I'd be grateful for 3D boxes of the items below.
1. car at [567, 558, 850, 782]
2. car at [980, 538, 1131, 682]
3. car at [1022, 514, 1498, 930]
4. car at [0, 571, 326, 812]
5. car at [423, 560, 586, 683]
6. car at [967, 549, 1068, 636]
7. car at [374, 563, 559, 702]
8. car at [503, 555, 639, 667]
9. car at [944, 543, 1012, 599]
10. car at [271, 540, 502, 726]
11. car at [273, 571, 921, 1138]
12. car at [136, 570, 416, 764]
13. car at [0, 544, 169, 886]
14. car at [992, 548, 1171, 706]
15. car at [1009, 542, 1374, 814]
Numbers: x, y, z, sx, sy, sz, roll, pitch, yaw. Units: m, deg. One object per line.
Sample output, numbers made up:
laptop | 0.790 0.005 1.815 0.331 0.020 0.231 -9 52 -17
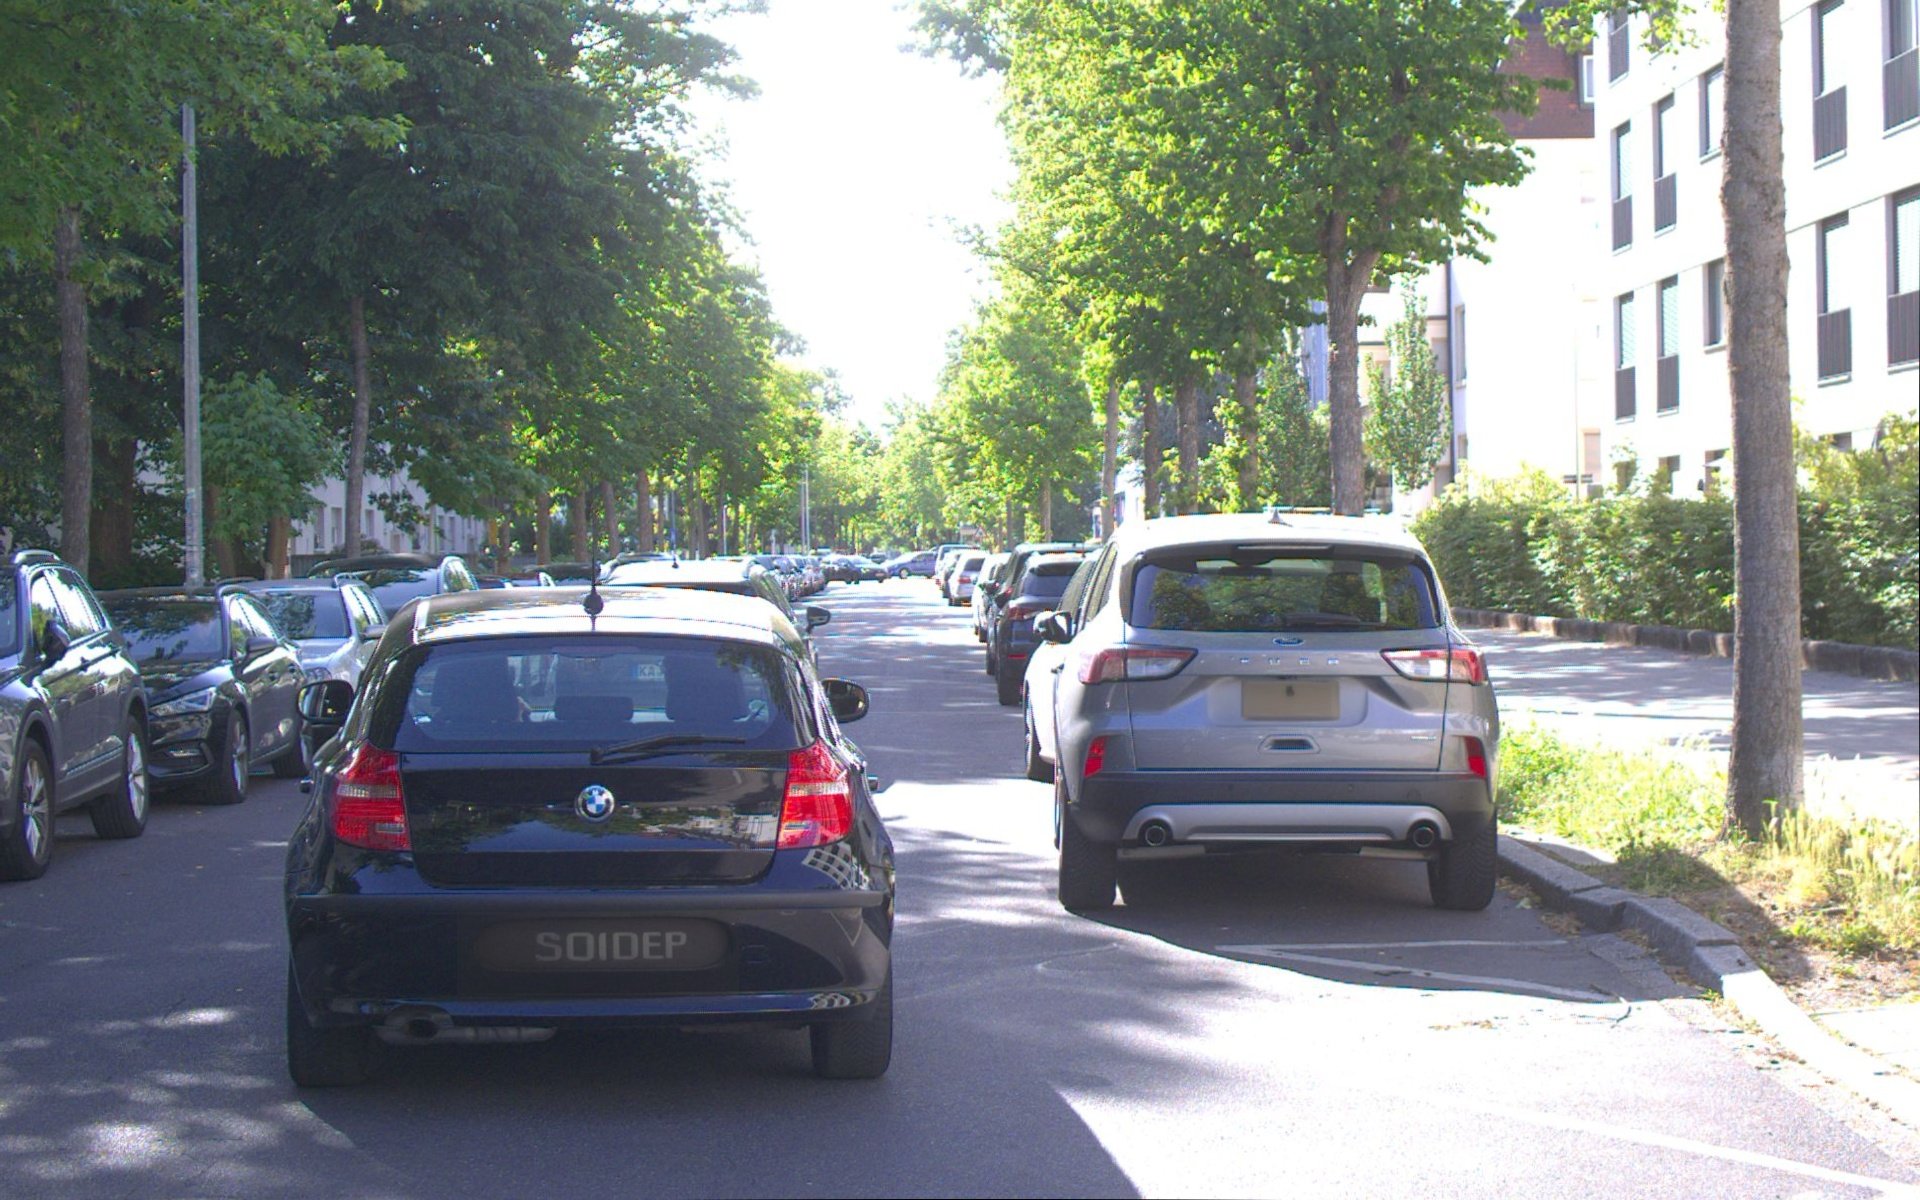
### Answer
car | -1.736 0.441 24.822 1.649 1.421 4.001 -2 1 1
car | 1.118 0.087 41.825 1.721 1.635 3.851 1 1 0
car | 1.215 0.463 15.687 1.848 1.625 4.410 0 0 1
car | -5.501 0.560 23.515 1.612 1.422 4.058 -2 1 -1
car | -5.831 0.245 44.362 1.612 1.447 3.866 -2 1 -1
car | 1.017 -0.164 61.730 1.721 1.475 3.851 1 1 0
car | -5.658 0.334 39.752 1.612 1.447 3.866 -2 1 -1
car | -5.760 0.131 51.274 1.612 1.538 3.866 -2 1 -1
car | 0.529 -0.831 97.021 1.721 1.475 3.851 -2 1 2
car | -5.603 0.274 34.047 1.612 1.673 4.234 -2 1 -1
car | -1.260 0.638 10.650 1.649 1.392 3.412 -2 1 -11
car | -5.618 0.504 28.609 1.612 1.422 3.726 -2 1 -1
car | -5.412 0.543 18.205 1.612 1.606 4.230 -2 1 -3
car | 1.215 0.233 35.818 1.721 1.523 4.000 1 1 0
car | 1.338 0.412 21.382 1.693 1.518 4.001 0 1 -4
